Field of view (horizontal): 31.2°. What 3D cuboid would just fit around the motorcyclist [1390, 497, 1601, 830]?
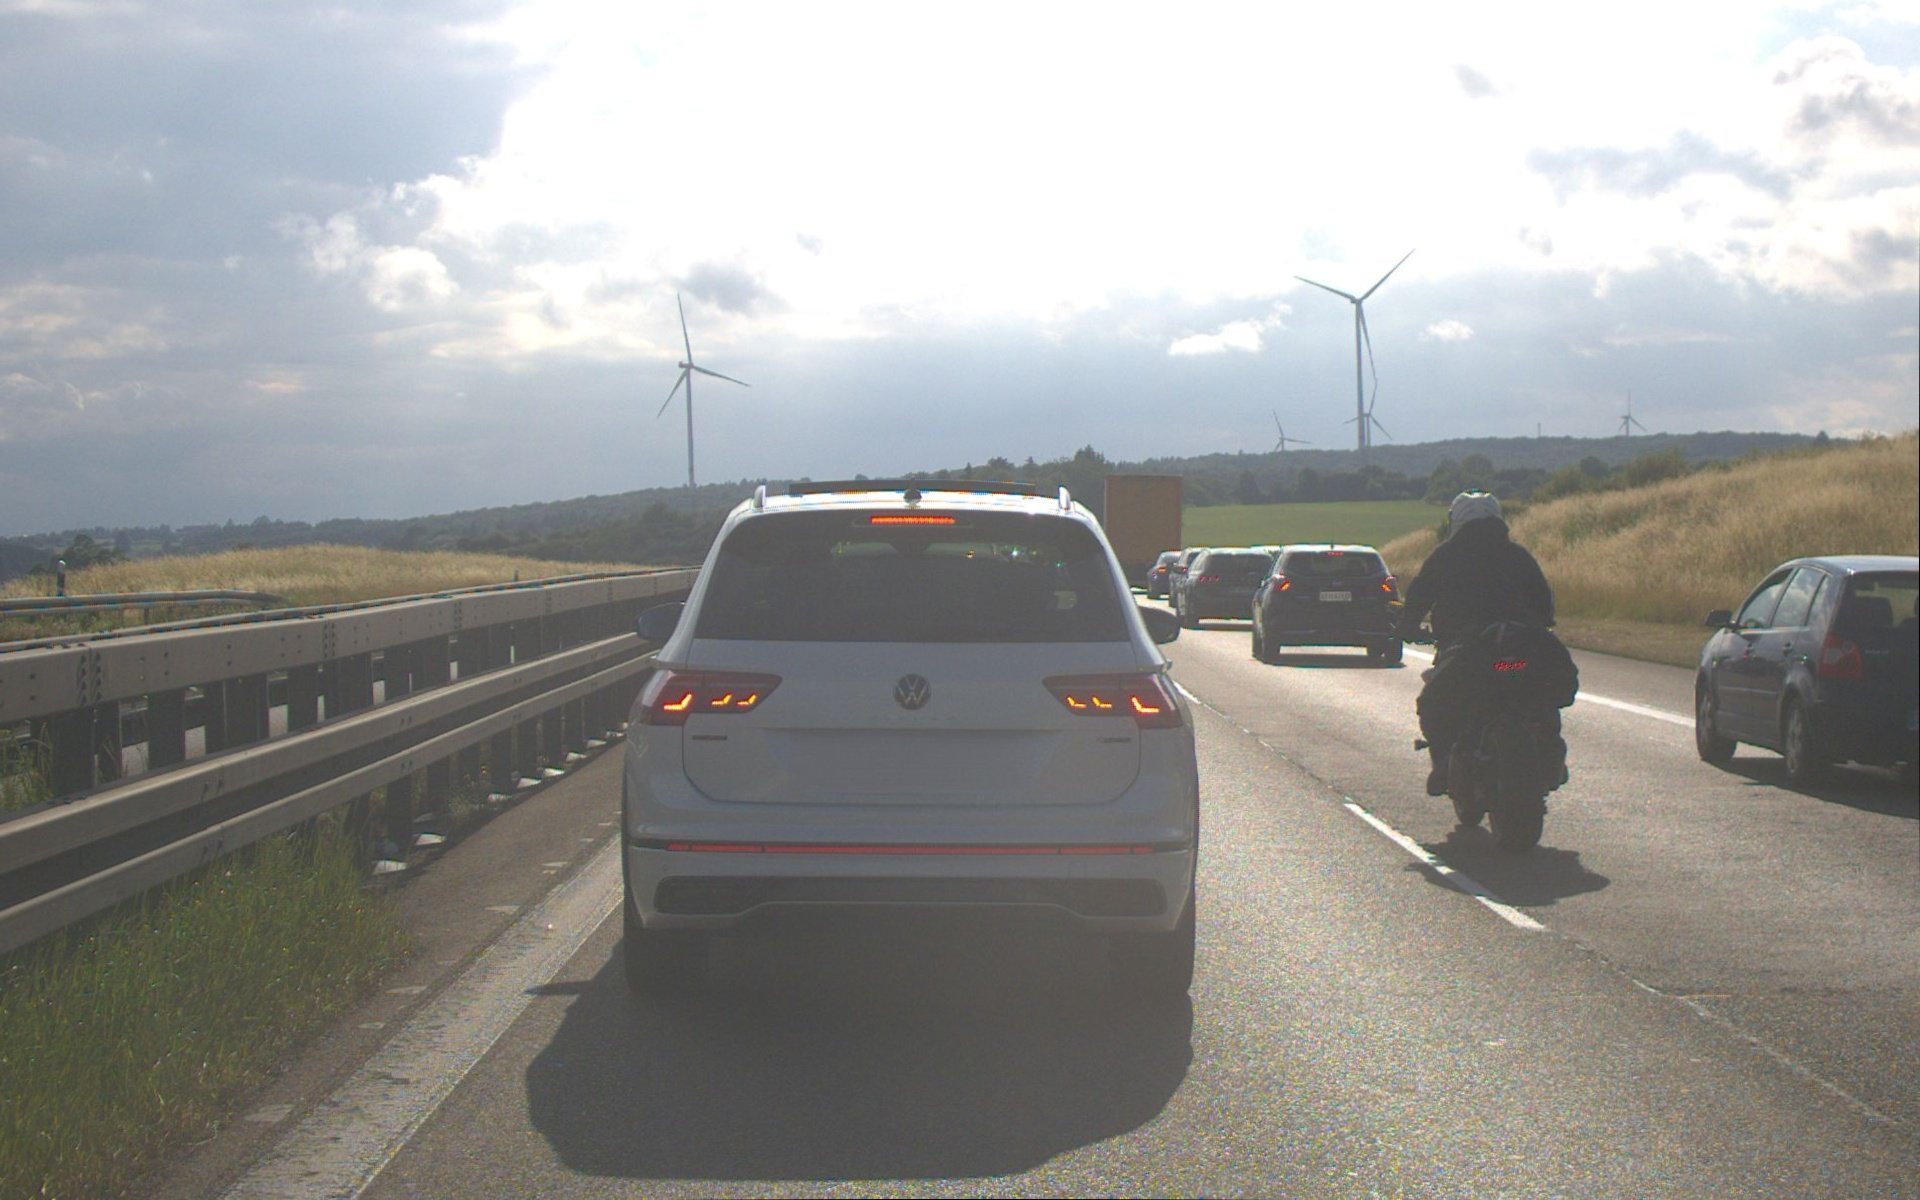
[{"bbox_3d":[2.565,0.293,16.563,0.849,1.554,0.934,0,1,-1],"label":"motorcyclist"}]

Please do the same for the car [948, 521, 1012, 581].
[{"bbox_3d":[0.531,-1.360,95.468,1.704,1.644,4.000,0,1,0],"label":"car"}]

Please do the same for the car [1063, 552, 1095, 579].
[{"bbox_3d":[6.903,-1.997,199.671,1.704,1.540,4.000,0,1,0],"label":"car"}]

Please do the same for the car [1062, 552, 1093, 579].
[{"bbox_3d":[7.029,-2.072,205.612,1.704,1.540,4.000,0,1,0],"label":"car"}]

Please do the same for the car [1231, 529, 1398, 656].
[{"bbox_3d":[4.491,-0.118,44.026,1.704,1.540,4.000,0,1,0],"label":"car"}]

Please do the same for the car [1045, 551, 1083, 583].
[{"bbox_3d":[5.082,-1.616,168.873,1.704,1.540,4.000,0,1,0],"label":"car"}]

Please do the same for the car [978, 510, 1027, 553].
[{"bbox_3d":[1.526,-2.478,125.449,1.704,1.540,4.000,0,1,0],"label":"car"}]

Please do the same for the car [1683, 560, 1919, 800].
[{"bbox_3d":[5.838,0.452,22.188,1.605,1.415,3.672,0,1,1],"label":"car"}]

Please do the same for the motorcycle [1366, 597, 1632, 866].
[{"bbox_3d":[2.562,0.592,16.612,0.895,1.186,2.257,0,1,-1],"label":"motorcycle"}]

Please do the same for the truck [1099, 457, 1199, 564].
[{"bbox_3d":[6.619,-3.155,121.776,3.184,3.581,11.130,0,1,2],"label":"truck"}]

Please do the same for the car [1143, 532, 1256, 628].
[{"bbox_3d":[4.216,-0.364,61.004,1.704,1.644,4.000,0,1,0],"label":"car"}]

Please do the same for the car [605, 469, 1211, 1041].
[{"bbox_3d":[-0.166,0.429,12.077,1.770,1.670,4.000,0,1,0],"label":"car"}]

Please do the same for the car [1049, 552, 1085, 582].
[{"bbox_3d":[5.555,-1.745,179.243,1.704,1.540,4.000,0,1,0],"label":"car"}]
